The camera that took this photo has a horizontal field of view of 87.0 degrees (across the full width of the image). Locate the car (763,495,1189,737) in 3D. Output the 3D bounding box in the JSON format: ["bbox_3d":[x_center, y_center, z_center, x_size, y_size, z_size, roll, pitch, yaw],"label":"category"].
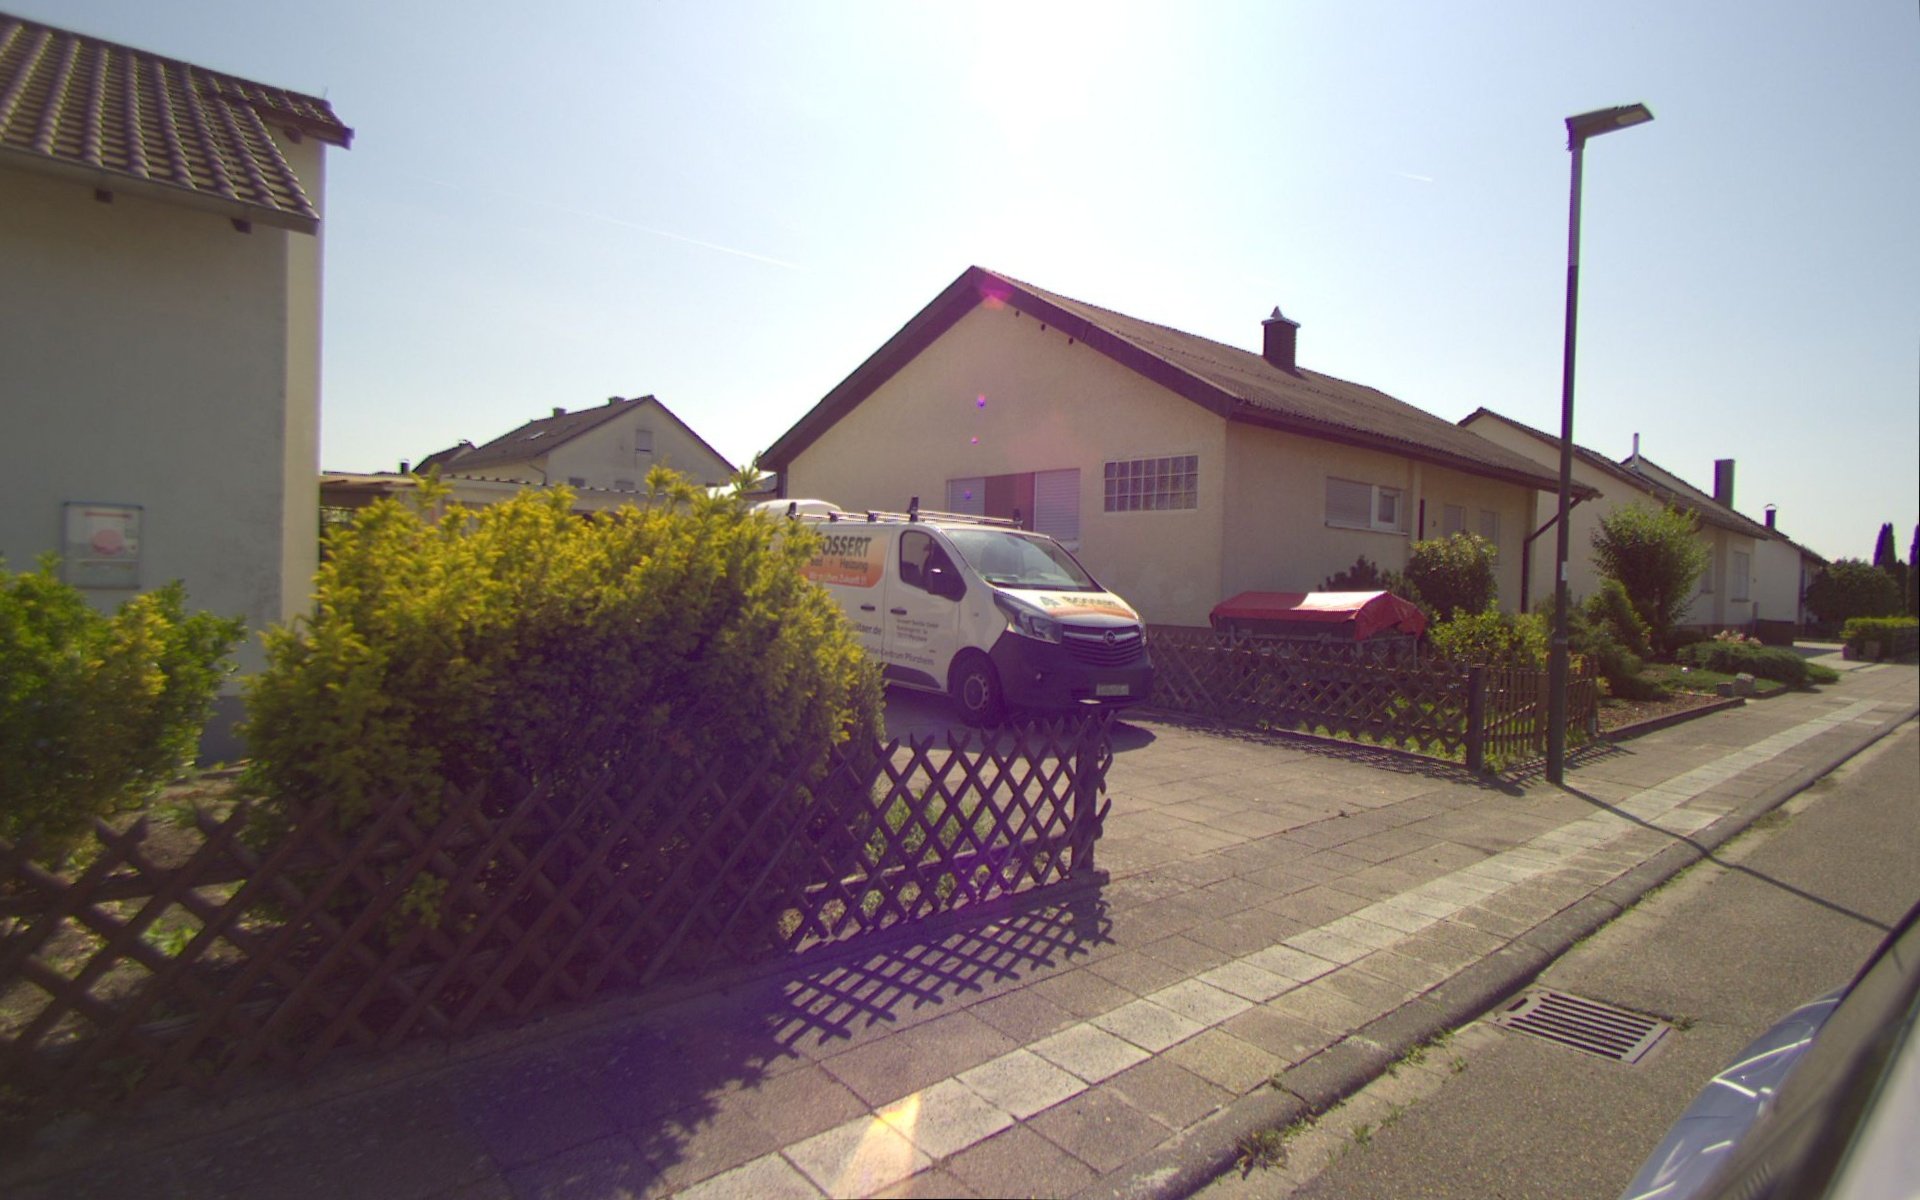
[{"bbox_3d":[-0.120,0.030,11.059,1.834,2.038,5.009,1,2,-39],"label":"car"}]

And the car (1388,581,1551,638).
[{"bbox_3d":[15.038,0.227,29.986,3.988,1.439,1.667,4,2,44],"label":"car"}]
